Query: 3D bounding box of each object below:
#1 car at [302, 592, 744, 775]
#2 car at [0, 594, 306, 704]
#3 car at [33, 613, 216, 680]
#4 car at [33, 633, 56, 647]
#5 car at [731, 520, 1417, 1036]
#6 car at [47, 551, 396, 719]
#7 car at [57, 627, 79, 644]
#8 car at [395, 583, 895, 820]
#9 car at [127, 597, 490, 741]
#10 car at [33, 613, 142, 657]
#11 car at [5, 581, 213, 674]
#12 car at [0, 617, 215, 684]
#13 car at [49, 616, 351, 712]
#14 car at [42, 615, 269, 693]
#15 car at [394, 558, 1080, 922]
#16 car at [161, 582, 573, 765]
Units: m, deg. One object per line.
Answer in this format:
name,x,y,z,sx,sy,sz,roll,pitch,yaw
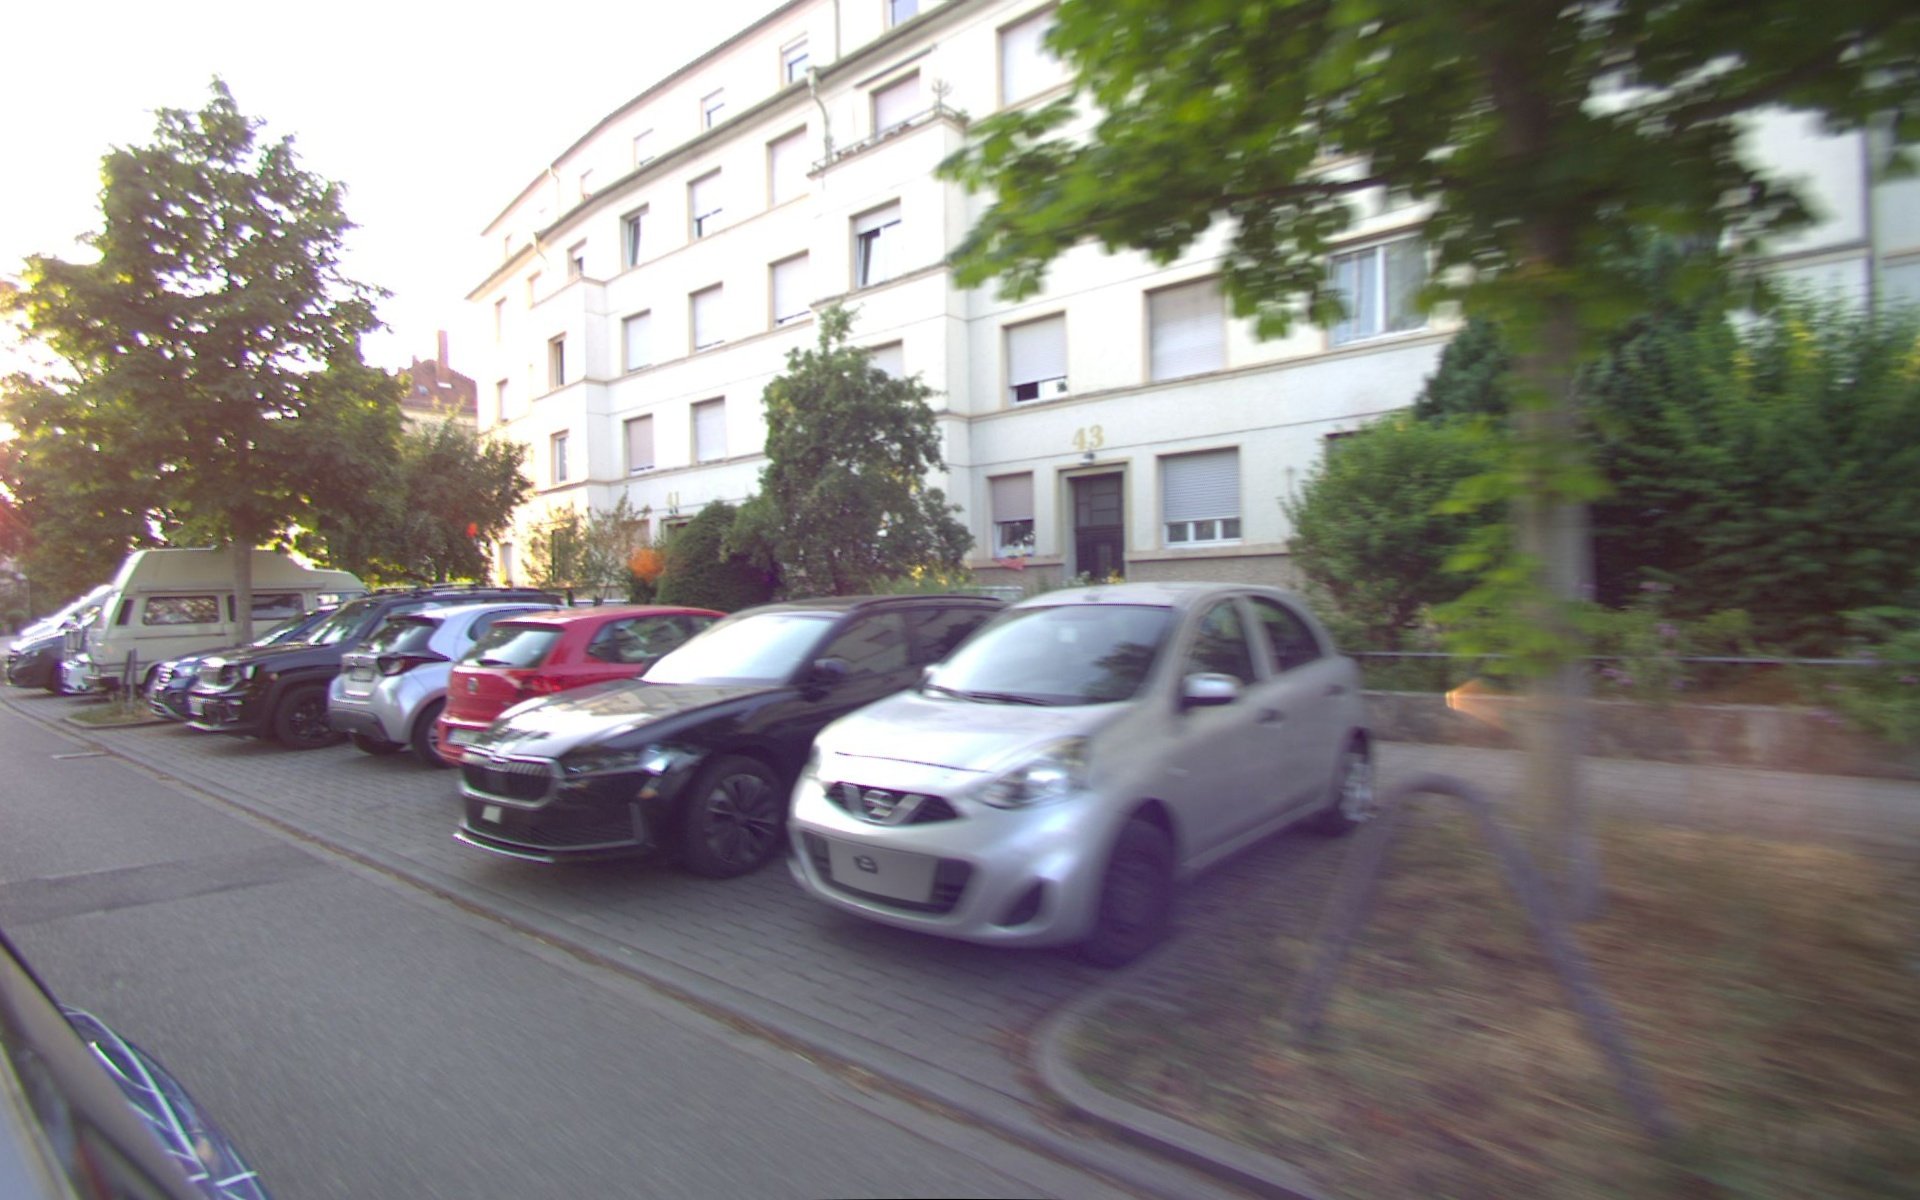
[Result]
car,-4.447,0.728,10.806,1.787,1.536,3.949,-2,0,38
car,-16.066,0.880,20.254,2.000,1.888,4.623,-2,0,42
car,-23.224,1.244,28.206,3.760,1.534,1.654,-4,1,-44
car,-97.463,4.262,107.752,1.707,1.386,3.769,-1,0,-40
car,0.947,0.543,5.260,1.798,1.590,3.951,-2,0,36
car,-12.301,0.493,17.075,2.000,2.449,4.452,-2,0,44
car,-113.060,4.534,128.328,1.969,2.029,4.006,-1,0,-40
car,-2.511,0.676,8.919,1.728,1.595,3.951,-2,0,36
car,-8.710,0.819,13.732,1.786,1.607,3.818,-2,0,43
car,-49.724,2.007,57.784,4.454,2.085,2.004,-5,1,-37
car,-25.684,0.758,30.649,4.676,2.589,2.002,-1,0,-44
car,-21.703,1.237,25.810,4.193,1.404,1.686,-2,0,-42
car,-13.776,1.080,18.513,2.000,1.436,4.130,-2,0,42
car,-17.738,1.135,22.431,1.656,1.450,3.727,-2,0,43
car,-1.108,0.620,6.862,1.896,1.627,4.367,-2,0,36
car,-6.872,0.725,12.029,1.842,1.790,3.821,-2,0,40
